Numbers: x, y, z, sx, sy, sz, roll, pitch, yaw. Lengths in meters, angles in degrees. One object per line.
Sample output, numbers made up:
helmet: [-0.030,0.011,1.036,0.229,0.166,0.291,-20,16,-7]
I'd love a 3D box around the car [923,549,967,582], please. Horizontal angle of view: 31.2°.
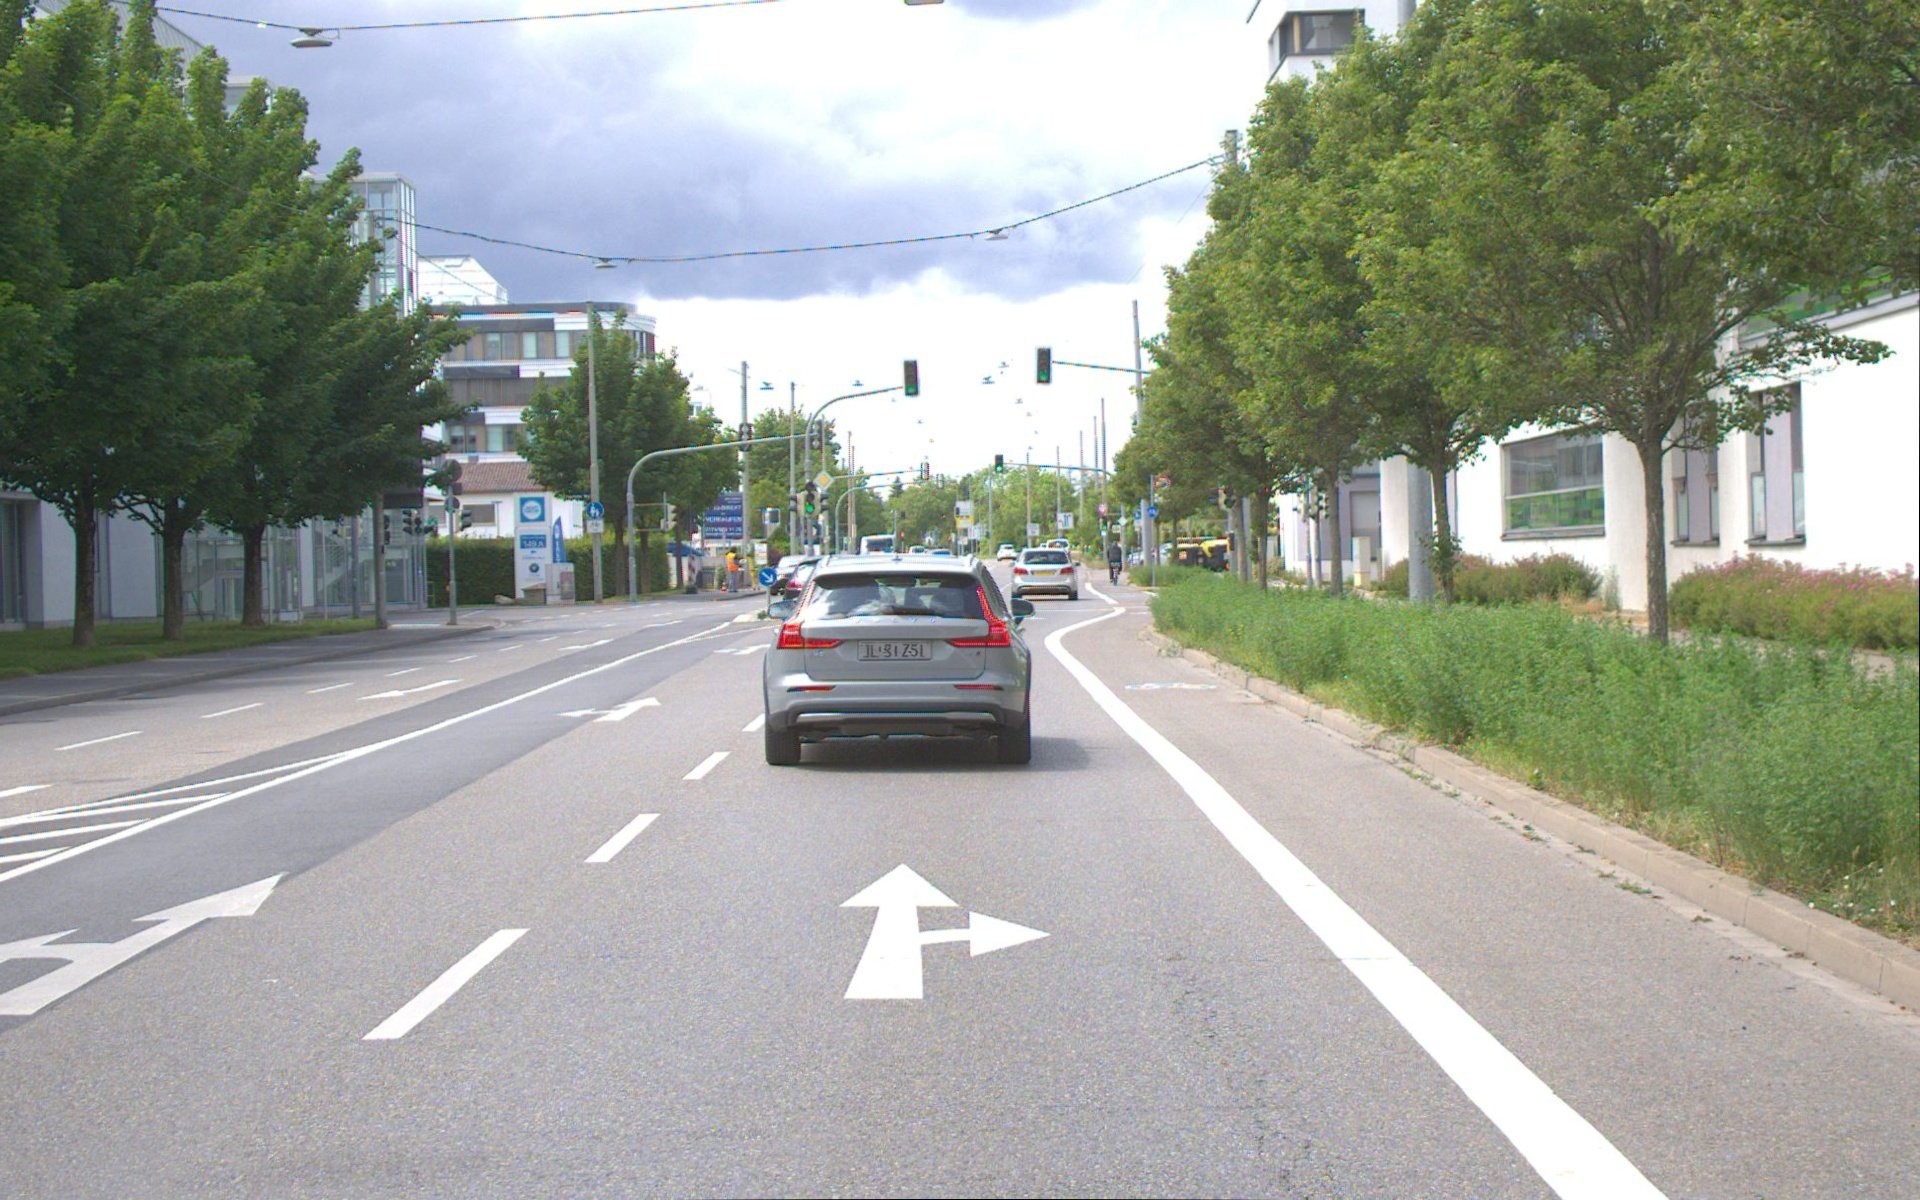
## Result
car: [-0.753,-1.779,177.486,1.885,1.547,4.539,-2,0,4]

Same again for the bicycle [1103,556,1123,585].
bicycle: [5.972,-1.155,134.242,0.638,1.059,1.977,-5,1,2]

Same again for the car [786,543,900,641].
car: [-2.121,-0.146,63.246,1.993,1.711,4.000,1,0,-1]

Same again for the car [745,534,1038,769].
car: [-0.415,0.343,25.025,1.896,1.549,4.000,1,0,2]

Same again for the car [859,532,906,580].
car: [-4.245,-2.410,189.339,2.143,2.463,6.073,-3,0,2]

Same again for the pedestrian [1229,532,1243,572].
pedestrian: [12.356,-2.148,154.103,0.507,1.759,0.500,1,0,18]

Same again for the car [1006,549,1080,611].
car: [2.311,-0.549,96.707,1.993,1.689,4.000,1,0,1]

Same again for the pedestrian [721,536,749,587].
pedestrian: [-8.928,-1.529,136.169,0.726,2.007,0.808,1,0,44]

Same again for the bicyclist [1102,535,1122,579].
bicyclist: [5.932,-1.693,134.517,0.638,1.670,0.890,-5,1,2]
